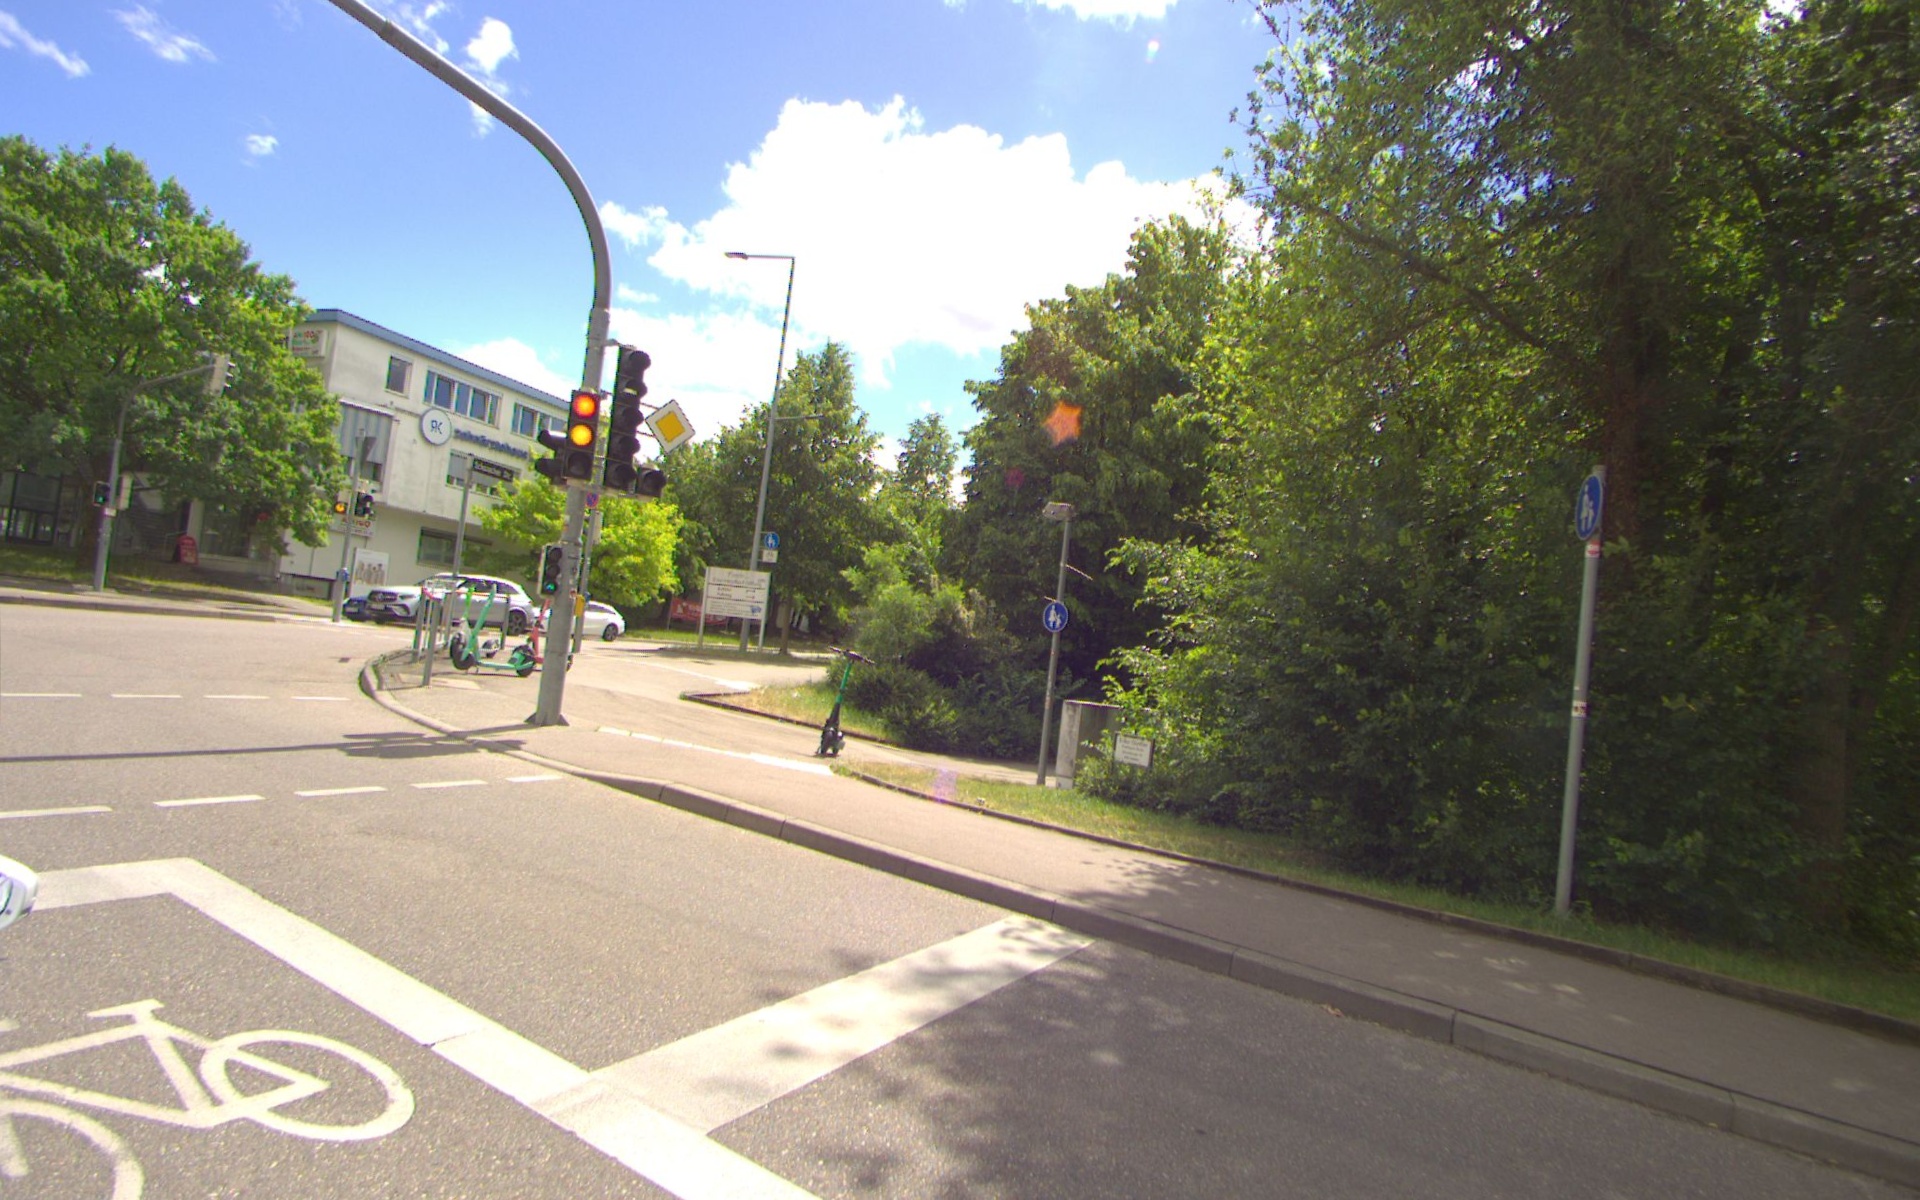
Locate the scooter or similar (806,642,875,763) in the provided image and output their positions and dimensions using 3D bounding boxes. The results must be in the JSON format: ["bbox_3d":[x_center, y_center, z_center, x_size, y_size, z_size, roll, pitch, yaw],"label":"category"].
[{"bbox_3d":[-1.430,1.236,12.227,0.526,1.304,1.213,11,-5,-2],"label":"scooter or similar"}]

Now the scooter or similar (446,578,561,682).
[{"bbox_3d":[-5.886,0.404,13.011,0.442,1.209,1.169,6,-2,35],"label":"scooter or similar"}]

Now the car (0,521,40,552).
[{"bbox_3d":[-54.427,-3.725,57.288,3.931,1.487,1.748,6,-2,29],"label":"car"}]

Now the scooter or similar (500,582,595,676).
[{"bbox_3d":[-5.939,0.437,14.545,0.471,1.249,1.186,7,-2,18],"label":"scooter or similar"}]

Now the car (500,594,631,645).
[{"bbox_3d":[-14.336,0.744,36.842,1.916,1.430,4.407,4,-3,21],"label":"car"}]

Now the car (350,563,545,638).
[{"bbox_3d":[-14.270,0.083,28.335,1.889,1.609,4.658,4,-3,23],"label":"car"}]

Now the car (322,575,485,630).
[{"bbox_3d":[-16.892,0.127,30.735,1.879,1.239,3.973,4,-3,23],"label":"car"}]

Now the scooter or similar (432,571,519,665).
[{"bbox_3d":[-7.020,0.277,14.638,0.470,1.249,1.212,7,-1,3],"label":"scooter or similar"}]
